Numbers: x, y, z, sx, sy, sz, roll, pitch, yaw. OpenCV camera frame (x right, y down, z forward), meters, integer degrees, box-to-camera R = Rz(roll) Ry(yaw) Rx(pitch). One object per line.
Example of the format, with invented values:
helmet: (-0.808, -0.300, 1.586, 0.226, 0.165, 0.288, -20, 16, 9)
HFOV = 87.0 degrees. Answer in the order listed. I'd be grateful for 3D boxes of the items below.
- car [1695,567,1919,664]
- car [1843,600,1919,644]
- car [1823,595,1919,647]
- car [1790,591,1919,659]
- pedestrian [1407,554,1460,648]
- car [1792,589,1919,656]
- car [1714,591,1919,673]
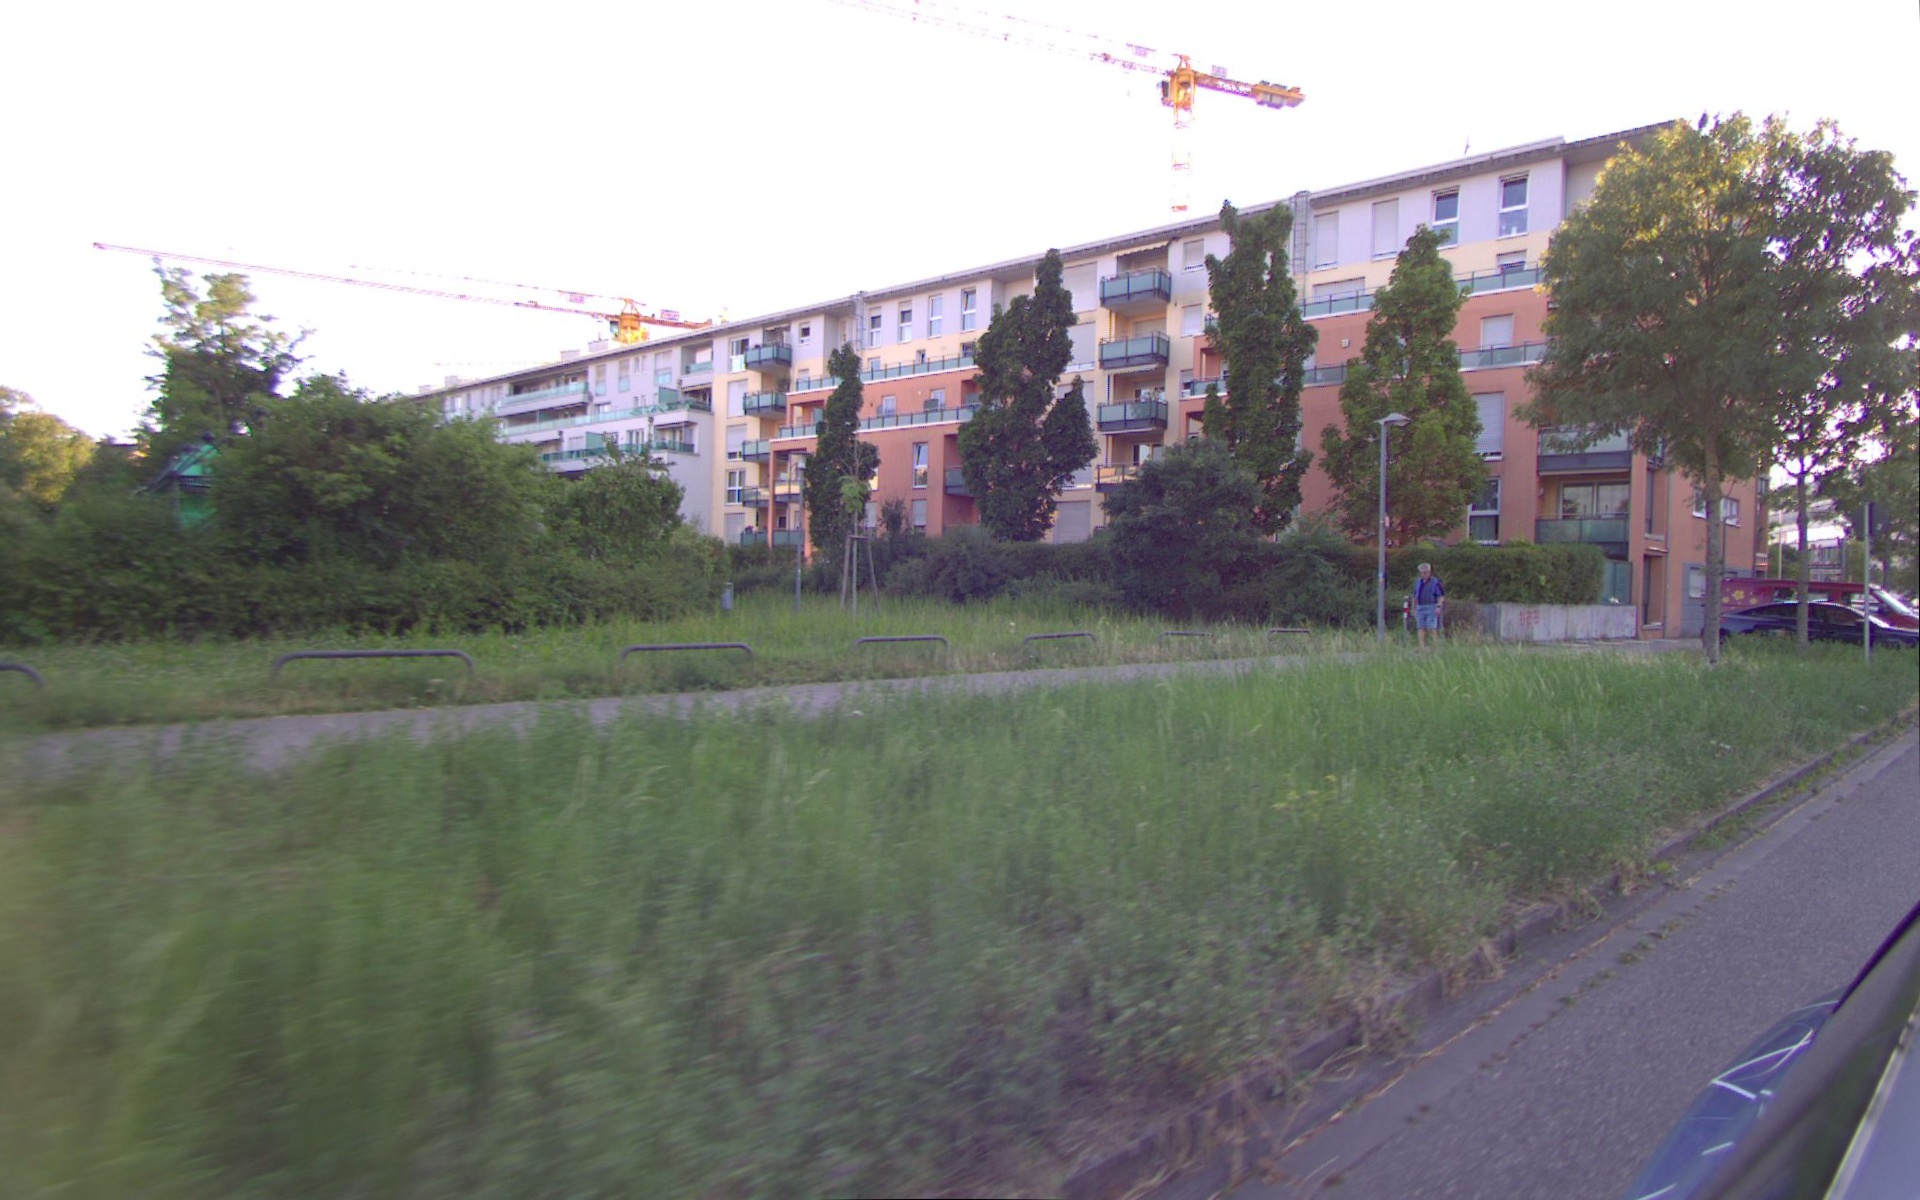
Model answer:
car: (21.042, 0.307, 24.457, 1.980, 2.143, 4.932, 1, 1, -39)
car: (33.951, 0.794, 35.993, 1.587, 1.492, 3.751, 0, 1, -45)
car: (32.101, 0.744, 34.333, 1.643, 1.588, 4.059, 1, 2, -40)
car: (23.095, 0.637, 25.164, 1.587, 1.483, 3.534, 1, 3, -40)
pedestrian: (9.180, 0.012, 19.623, 0.687, 1.765, 0.670, 1, 1, -41)
car: (25.131, 0.637, 26.994, 1.761, 1.588, 4.226, 1, 3, -40)
car: (19.512, 0.670, 22.041, 1.779, 1.576, 4.678, 1, 1, -41)
